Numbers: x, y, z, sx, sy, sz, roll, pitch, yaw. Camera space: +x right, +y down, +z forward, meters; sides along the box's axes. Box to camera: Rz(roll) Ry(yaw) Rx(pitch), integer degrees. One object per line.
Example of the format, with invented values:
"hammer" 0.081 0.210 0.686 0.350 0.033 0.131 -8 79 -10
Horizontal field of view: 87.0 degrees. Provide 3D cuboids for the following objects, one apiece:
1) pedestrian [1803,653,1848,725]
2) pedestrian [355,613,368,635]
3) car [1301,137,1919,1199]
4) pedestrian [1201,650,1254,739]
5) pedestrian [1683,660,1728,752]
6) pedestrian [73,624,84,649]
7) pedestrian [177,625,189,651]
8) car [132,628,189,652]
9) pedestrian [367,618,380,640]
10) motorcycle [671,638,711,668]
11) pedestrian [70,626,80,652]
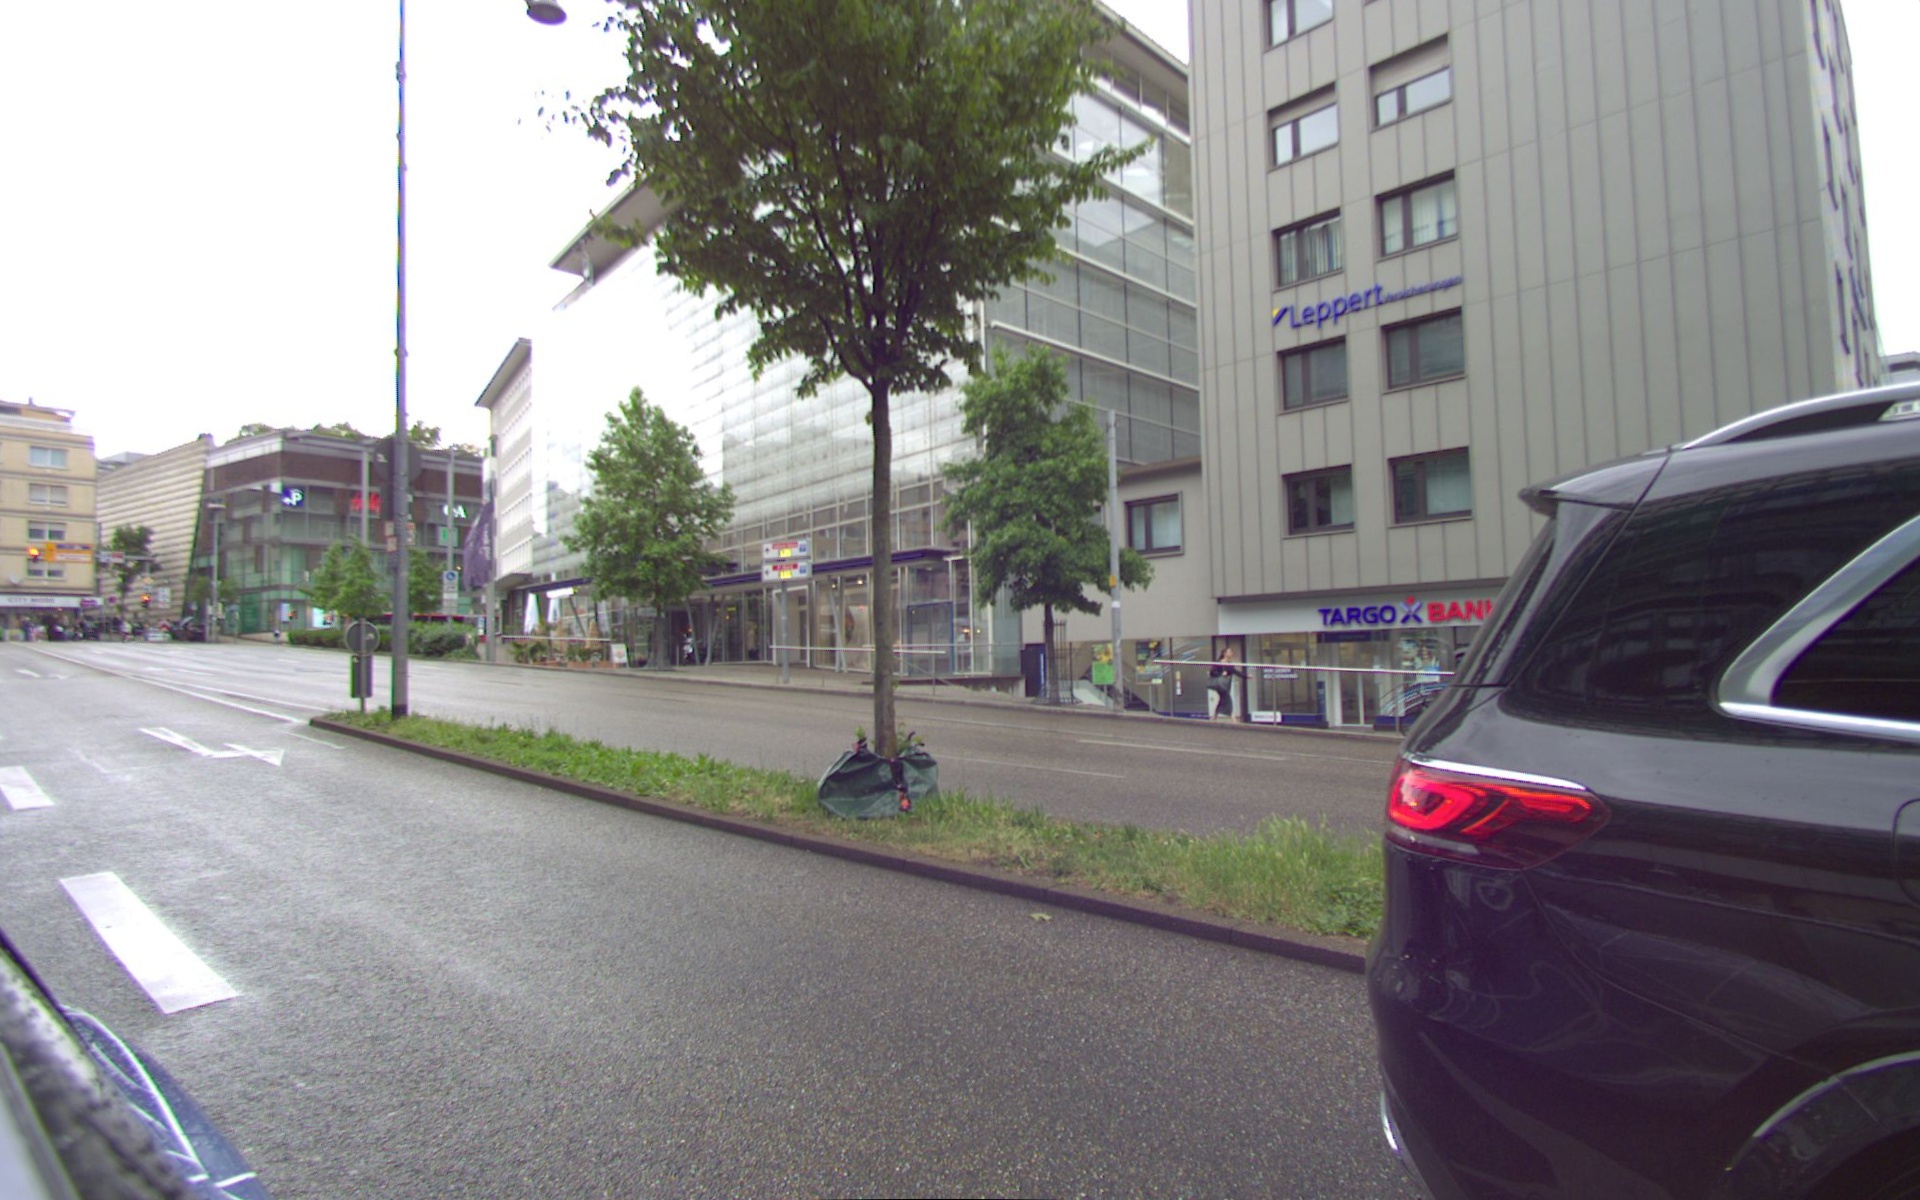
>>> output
"pedestrian" 21.400 2.187 25.032 0.724 1.710 0.781 0 -3 34
"pedestrian" -44.614 1.788 75.423 0.602 1.642 0.625 -1 -3 42
"car" 3.110 0.381 0.796 5.069 1.884 1.892 0 0 40
"pedestrian" 5.194 1.816 19.676 0.626 1.649 0.791 0 0 -41
"pedestrian" 14.204 2.004 19.301 0.634 1.649 0.781 0 0 34
"pedestrian" -58.877 2.433 67.602 0.602 1.642 0.422 -1 -3 44
"pedestrian" -54.641 2.660 71.175 0.618 1.788 0.689 0 0 -45
"car" -68.726 3.415 87.078 1.967 2.029 4.599 1 -2 -12
"pedestrian" -43.656 2.136 75.296 0.603 1.642 0.625 -1 -3 44
"motorcycle" -12.198 2.412 45.976 0.620 1.336 1.685 -1 -3 41
"pedestrian" -57.580 2.527 65.846 0.603 1.642 0.422 -1 -3 45
